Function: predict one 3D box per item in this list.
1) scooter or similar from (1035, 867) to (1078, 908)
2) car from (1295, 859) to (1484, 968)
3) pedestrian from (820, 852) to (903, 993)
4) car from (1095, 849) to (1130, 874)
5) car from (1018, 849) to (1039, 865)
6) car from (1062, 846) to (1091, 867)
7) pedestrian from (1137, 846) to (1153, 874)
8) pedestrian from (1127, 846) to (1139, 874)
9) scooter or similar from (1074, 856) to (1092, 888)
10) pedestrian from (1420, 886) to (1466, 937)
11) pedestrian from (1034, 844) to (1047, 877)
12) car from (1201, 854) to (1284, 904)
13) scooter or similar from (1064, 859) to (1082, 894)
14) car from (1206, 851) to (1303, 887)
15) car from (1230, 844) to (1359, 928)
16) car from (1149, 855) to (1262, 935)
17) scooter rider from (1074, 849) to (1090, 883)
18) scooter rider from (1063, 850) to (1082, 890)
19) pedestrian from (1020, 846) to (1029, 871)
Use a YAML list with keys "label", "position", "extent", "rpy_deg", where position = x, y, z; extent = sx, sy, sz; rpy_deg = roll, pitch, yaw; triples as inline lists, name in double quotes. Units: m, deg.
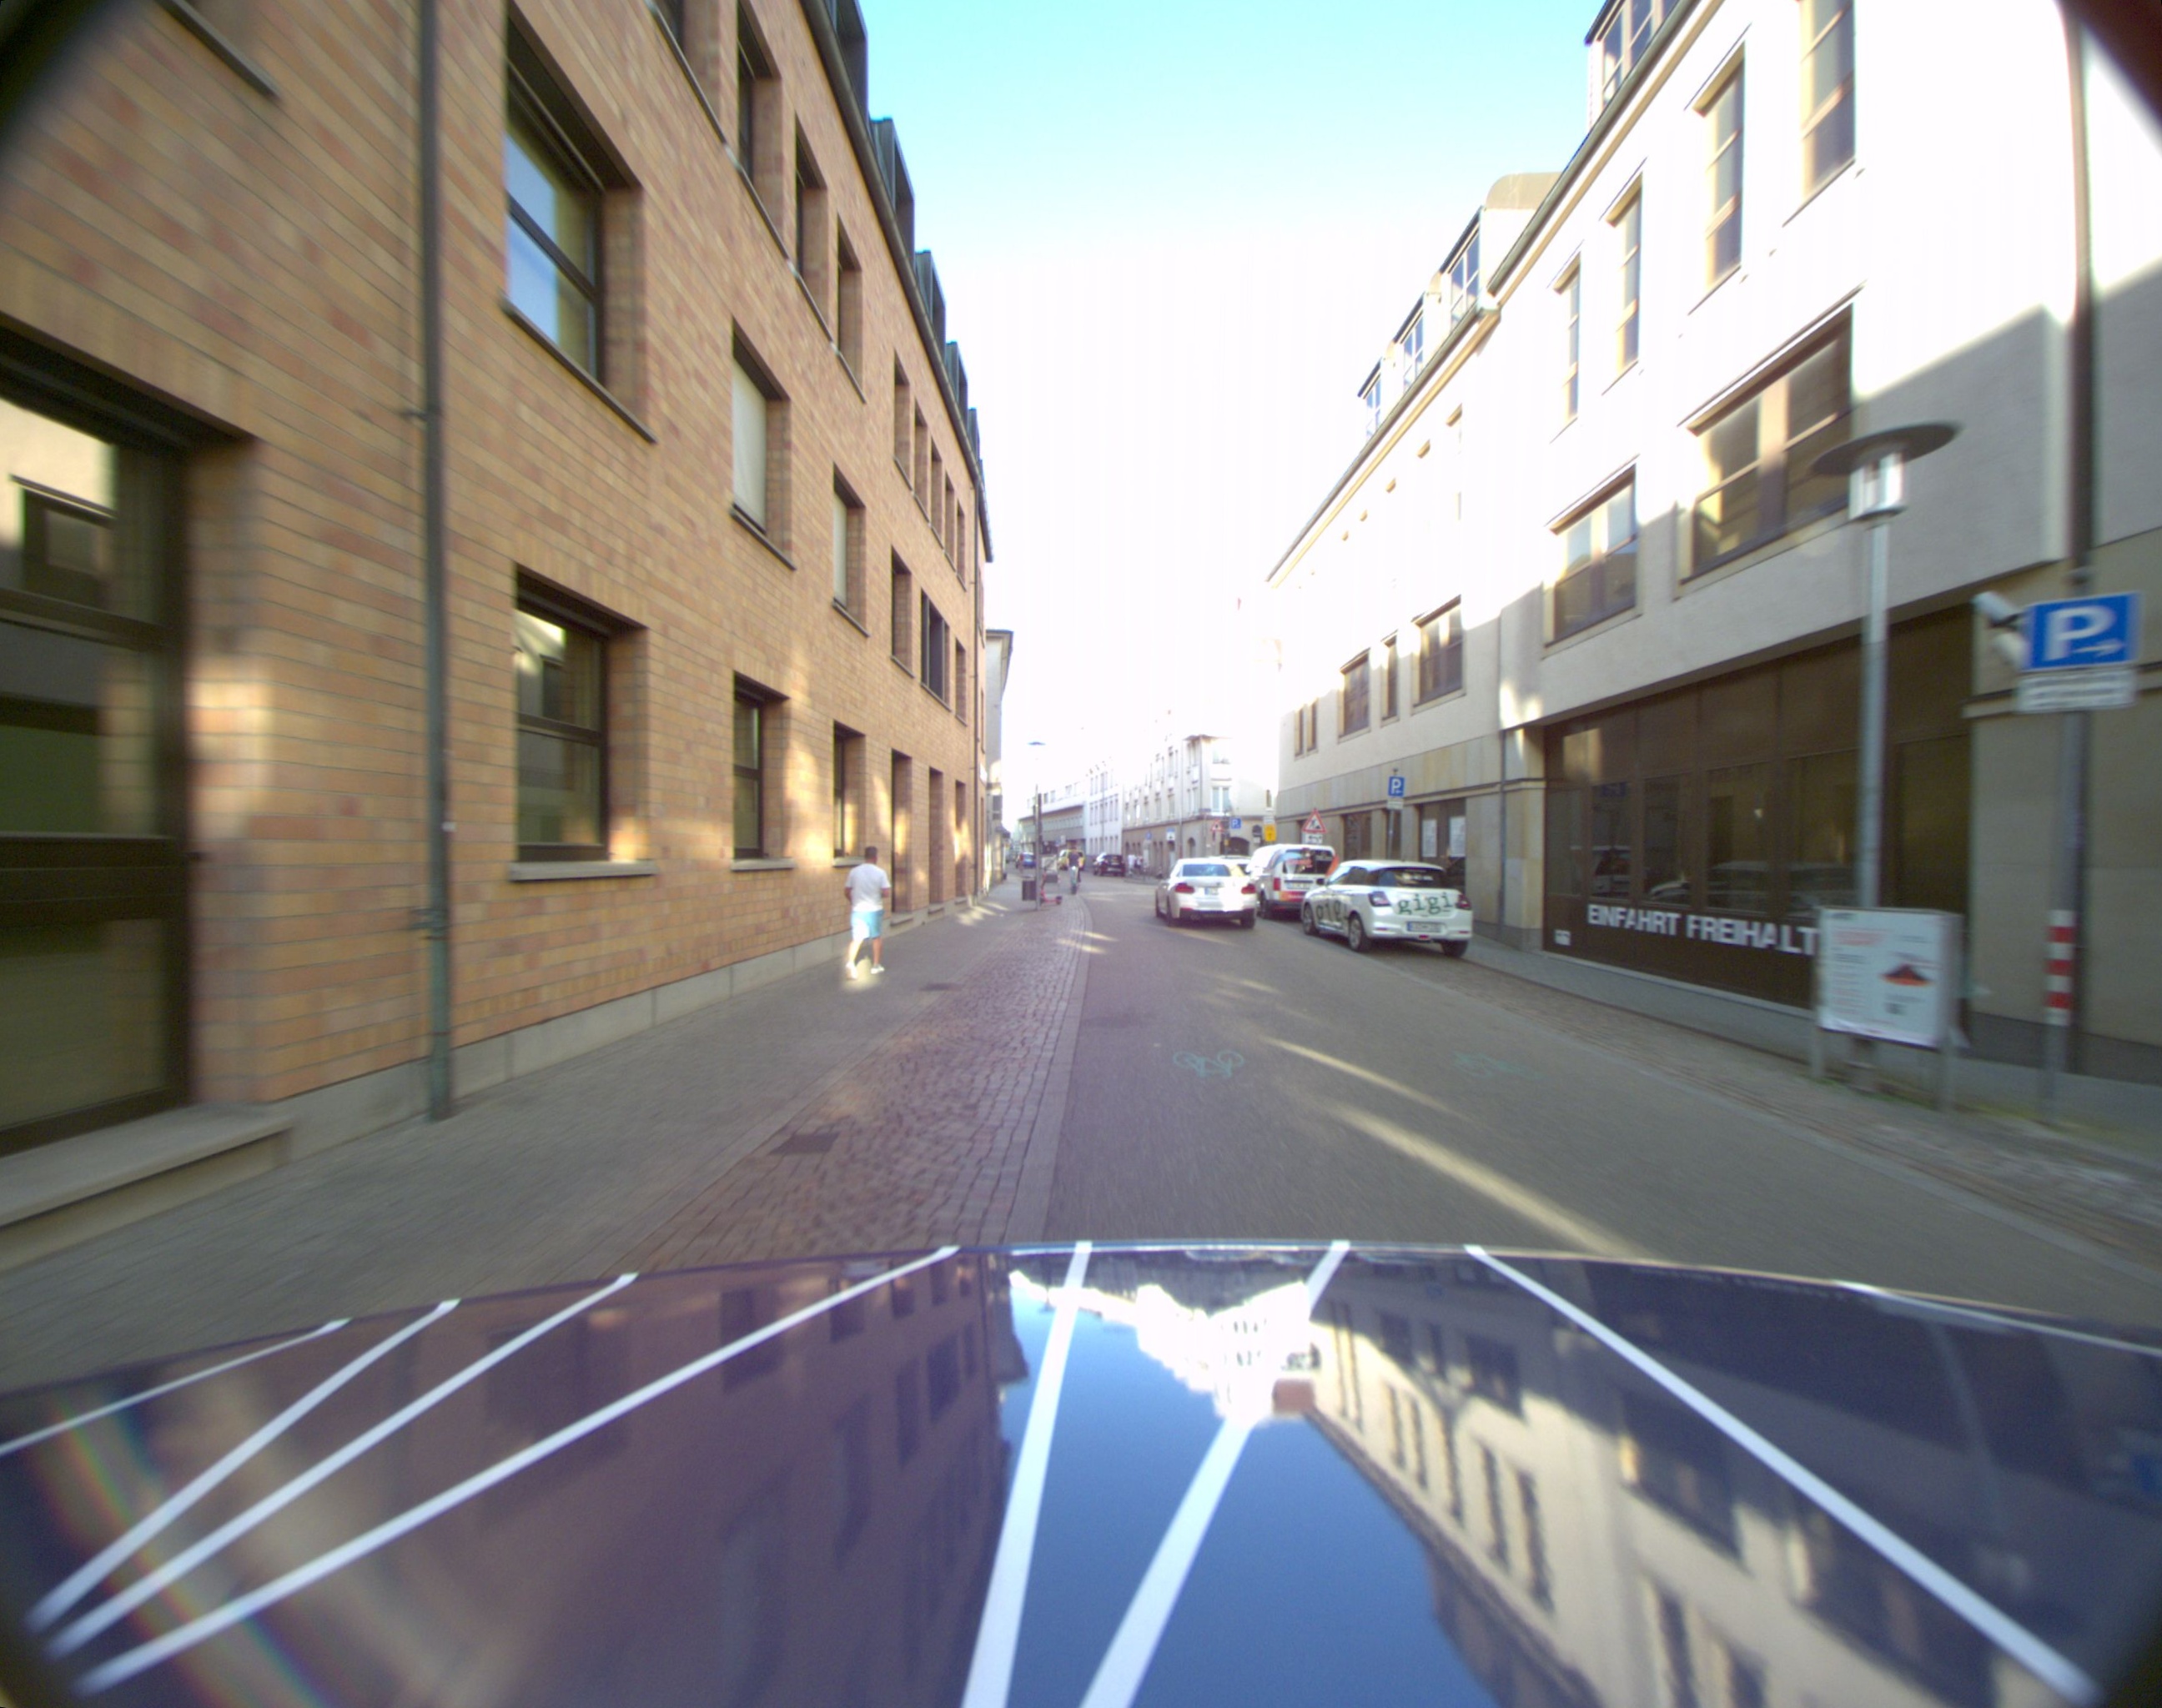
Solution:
- label: "scooter or similar"
  position: [-0.769, 1.042, 23.993]
  extent: [0.537, 1.228, 1.422]
  rpy_deg: [-1, 0, 39]
- label: "car"
  position: [5.144, 0.912, 13.244]
  extent: [1.674, 1.513, 3.775]
  rpy_deg: [2, 1, 0]
- label: "pedestrian"
  position: [-2.783, 0.835, 9.705]
  extent: [0.762, 1.706, 0.821]
  rpy_deg: [2, 1, 2]
- label: "car"
  position: [2.251, 0.525, 55.438]
  extent: [1.889, 1.694, 3.997]
  rpy_deg: [2, 0, -7]
- label: "car"
  position: [-5.355, 0.346, 76.820]
  extent: [1.857, 1.583, 3.804]
  rpy_deg: [1, -1, -8]
- label: "car"
  position: [-0.452, 0.219, 71.003]
  extent: [1.890, 1.863, 3.995]
  rpy_deg: [0, 1, -12]
- label: "pedestrian"
  position: [4.542, 0.425, 53.943]
  extent: [0.938, 2.002, 0.698]
  rpy_deg: [0, 1, -10]
- label: "pedestrian"
  position: [3.667, 0.421, 53.763]
  extent: [0.716, 2.002, 0.698]
  rpy_deg: [0, 1, -10]
- label: "scooter or similar"
  position: [0.076, 0.805, 34.334]
  extent: [0.550, 1.388, 1.554]
  rpy_deg: [0, 1, -9]
- label: "pedestrian"
  position: [7.636, 1.202, 16.047]
  extent: [0.657, 1.029, 0.617]
  rpy_deg: [0, 1, -4]
- label: "pedestrian"
  position: [-2.456, 0.390, 46.300]
  extent: [0.716, 2.002, 0.698]
  rpy_deg: [0, 1, -10]
- label: "car"
  position: [5.392, 0.794, 25.849]
  extent: [1.742, 1.483, 3.798]
  rpy_deg: [1, 0, -4]
- label: "scooter or similar"
  position: [-0.332, 0.900, 31.343]
  extent: [0.524, 1.388, 1.554]
  rpy_deg: [0, 1, -9]
- label: "car"
  position: [7.583, 0.626, 33.565]
  extent: [3.995, 1.537, 1.764]
  rpy_deg: [0, 1, 5]
- label: "car"
  position: [5.266, 0.700, 19.465]
  extent: [1.904, 1.847, 4.733]
  rpy_deg: [2, 0, 0]
- label: "car"
  position: [2.578, 0.790, 16.677]
  extent: [1.719, 1.509, 4.159]
  rpy_deg: [0, 0, -1]
- label: "scooter rider"
  position: [0.039, 0.533, 34.449]
  extent: [0.592, 1.500, 0.599]
  rpy_deg: [-2, 2, -9]
- label: "scooter rider"
  position: [-0.364, 0.640, 31.148]
  extent: [0.648, 1.585, 0.599]
  rpy_deg: [-2, 2, -9]
- label: "pedestrian"
  position: [-4.583, 0.326, 61.543]
  extent: [0.716, 2.002, 0.698]
  rpy_deg: [0, 1, -10]
